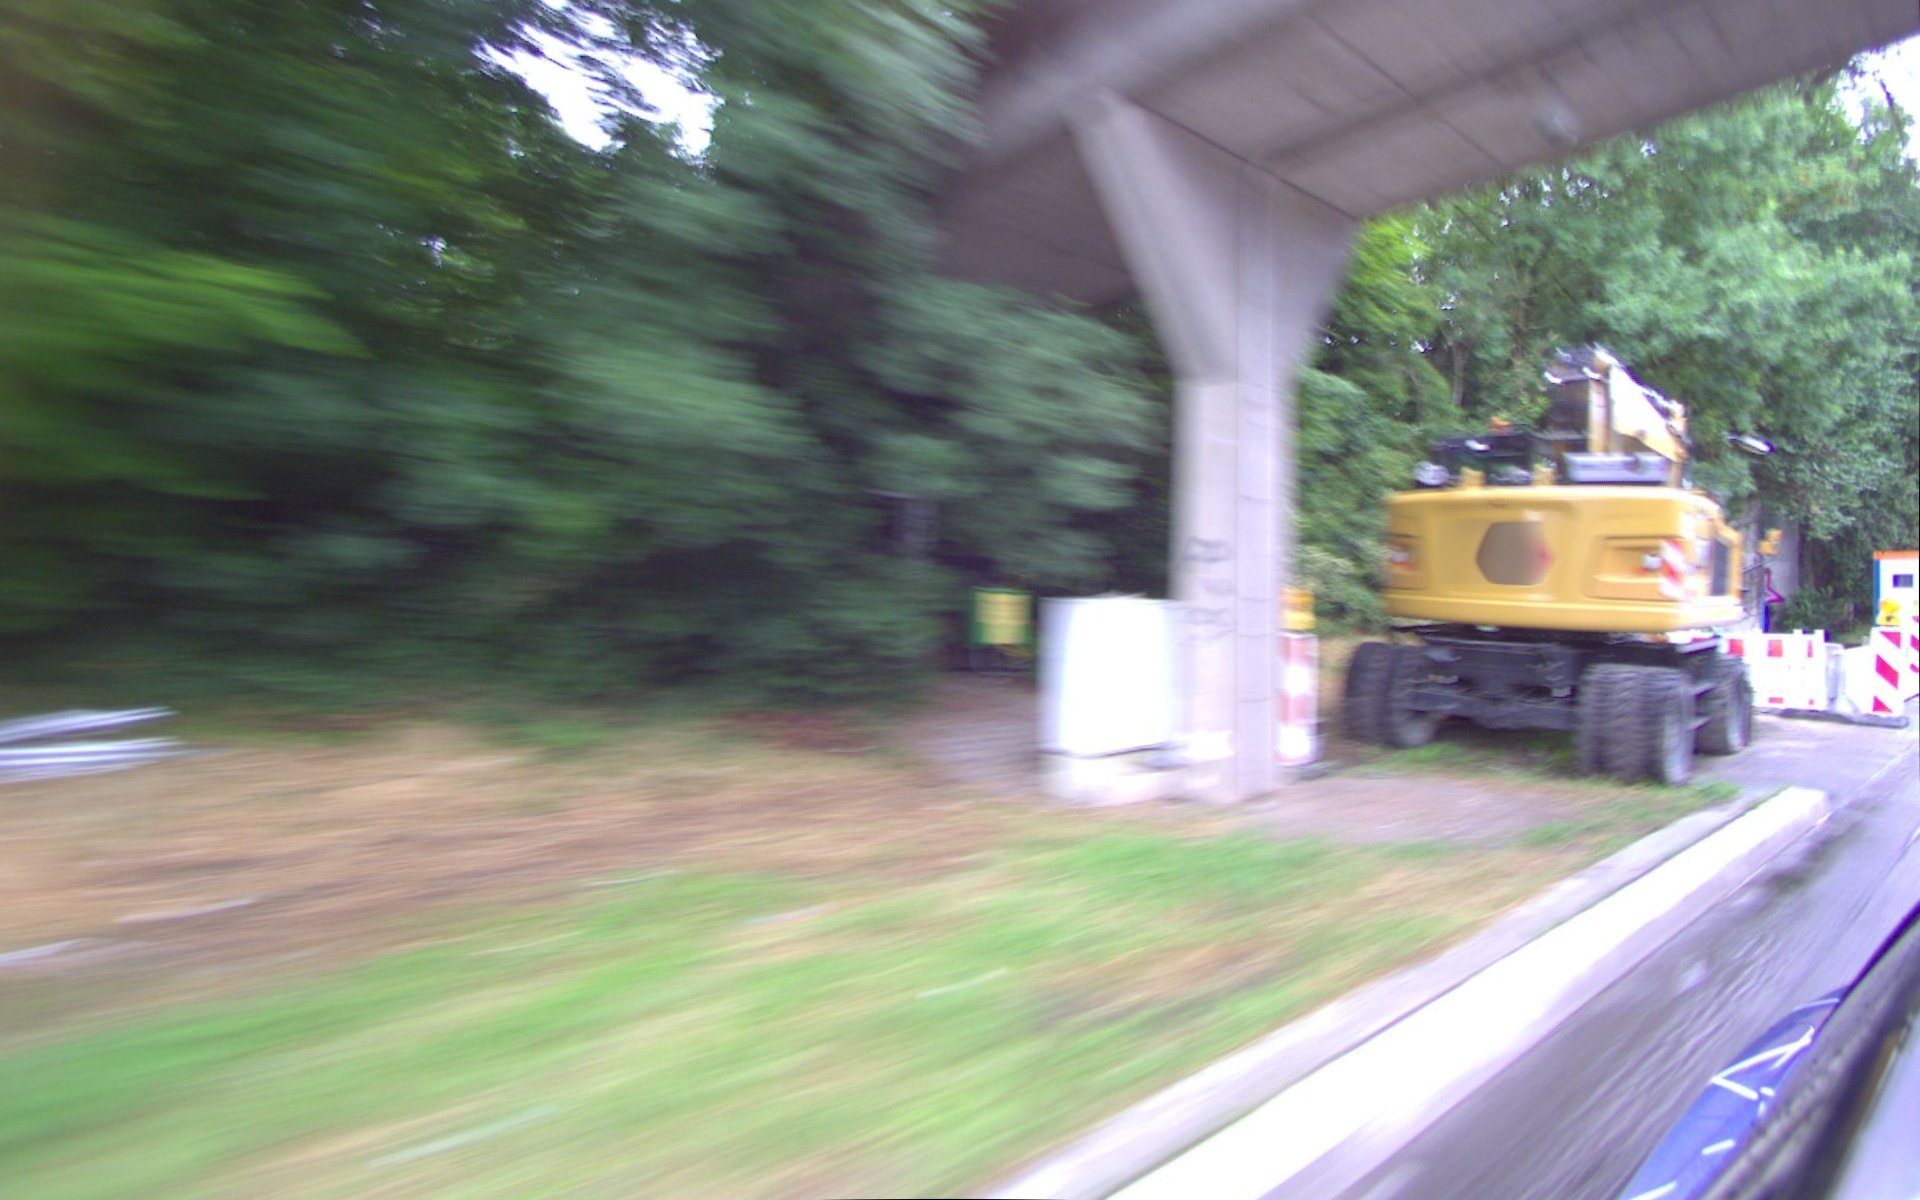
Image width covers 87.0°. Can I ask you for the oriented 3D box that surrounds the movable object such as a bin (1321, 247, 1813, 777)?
[{"bbox_3d":[6.664,-0.693,10.728,6.002,3.990,2.885,-1,0,-43],"label":"movable object such as a bin"}]
